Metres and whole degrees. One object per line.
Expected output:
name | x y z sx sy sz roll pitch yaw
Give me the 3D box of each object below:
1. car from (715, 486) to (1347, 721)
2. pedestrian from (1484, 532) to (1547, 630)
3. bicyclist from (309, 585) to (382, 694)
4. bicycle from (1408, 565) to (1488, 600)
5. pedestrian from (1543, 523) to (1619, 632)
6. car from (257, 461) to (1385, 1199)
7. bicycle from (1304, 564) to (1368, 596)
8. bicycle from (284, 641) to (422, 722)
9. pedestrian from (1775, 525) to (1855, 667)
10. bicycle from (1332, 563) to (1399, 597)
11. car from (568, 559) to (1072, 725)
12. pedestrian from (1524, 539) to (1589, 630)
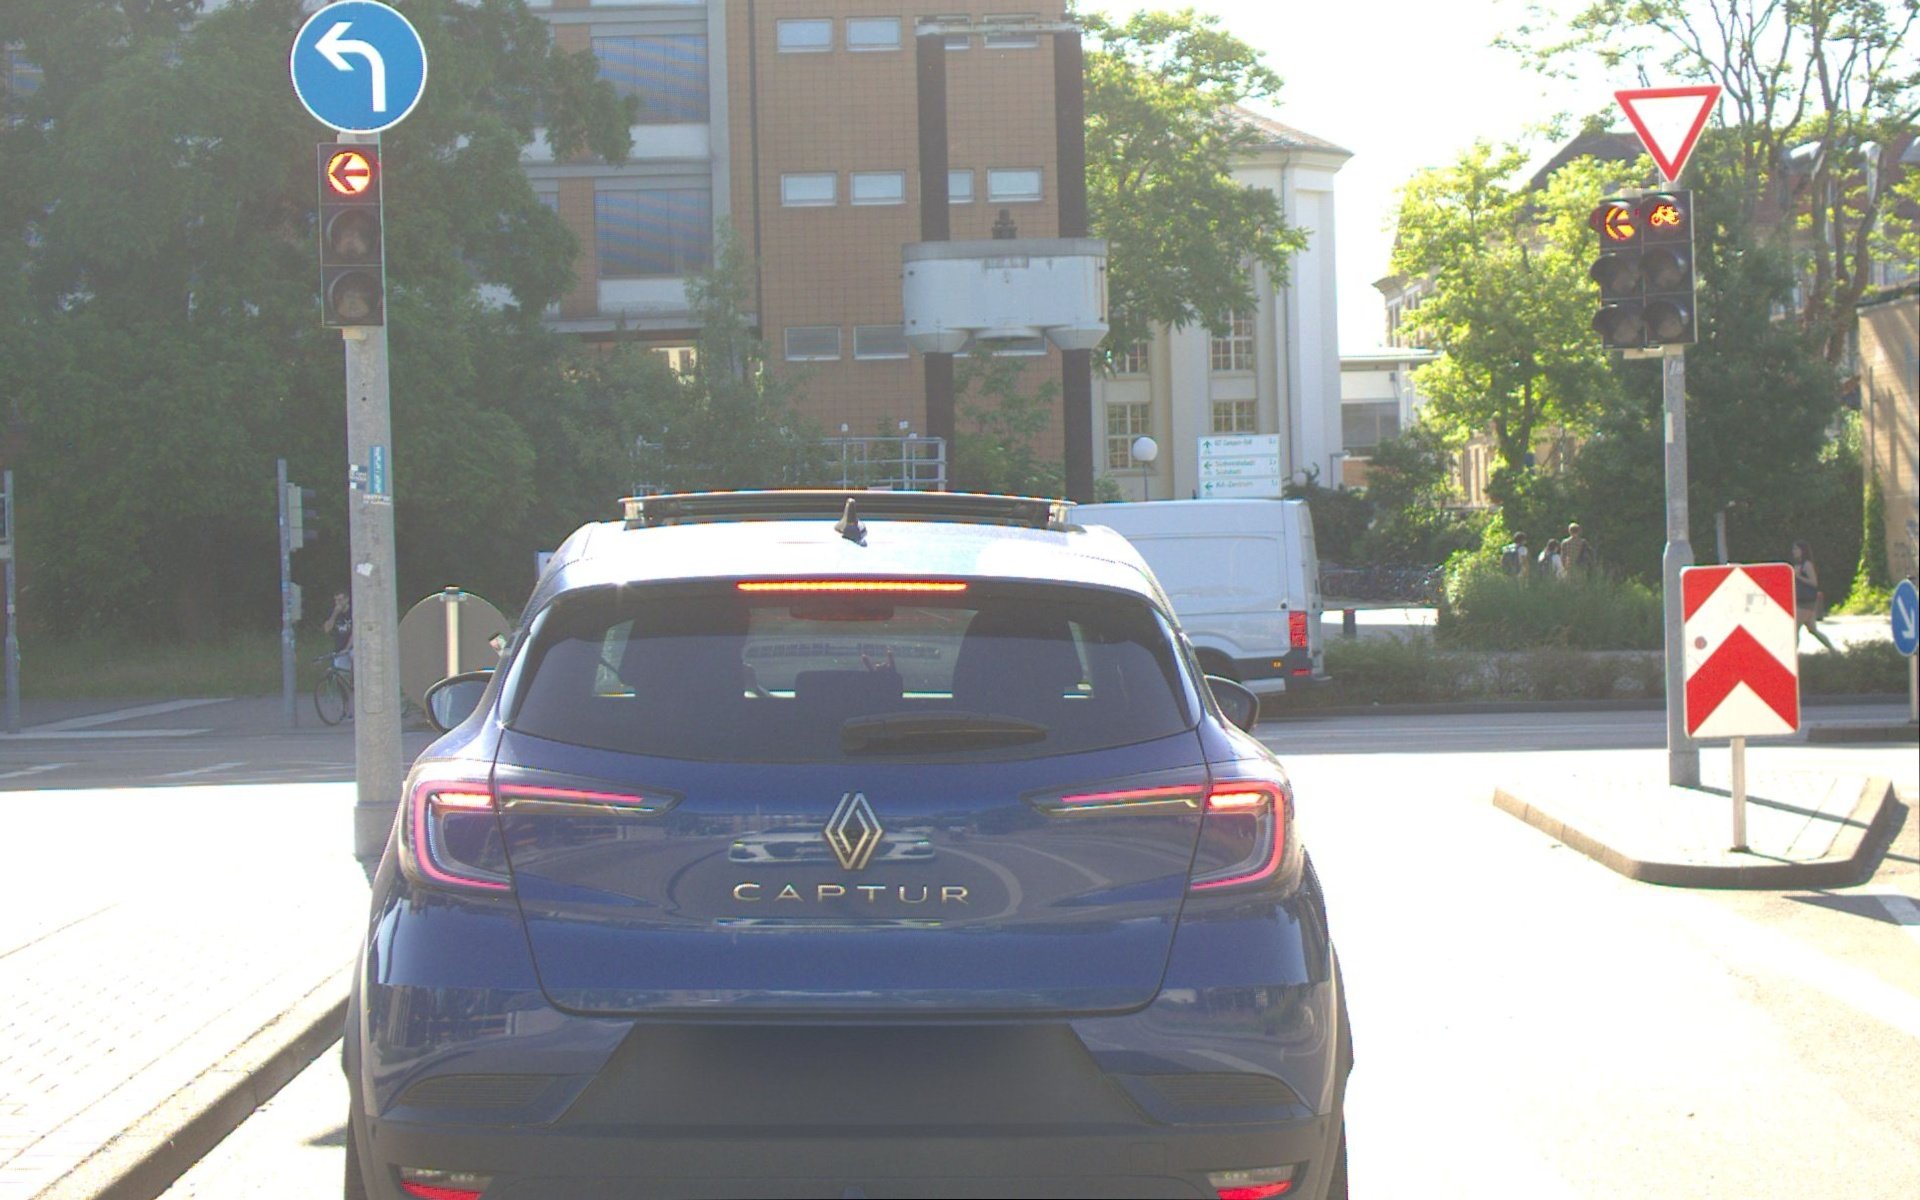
car | 0.902 0.031 40.387 6.938 2.538 3.011 -1 1 12
pedestrian | 10.095 -0.350 62.501 0.953 1.735 0.984 -1 1 0
bicyclist | -8.082 0.522 45.225 0.648 1.407 0.637 -3 -2 31
bicycle | 11.988 -0.424 84.452 1.770 0.820 0.766 -1 1 -10
pedestrian | 11.634 -0.430 64.442 1.156 2.007 1.164 -1 1 0
car | -0.274 0.569 7.427 1.794 1.649 3.853 0 1 -2
bicycle | 11.013 -0.599 100.617 1.771 0.890 0.765 -1 1 0
bicycle | -7.989 1.066 45.328 0.699 1.004 1.865 -3 -2 32
pedestrian | 11.348 -0.063 45.669 0.932 1.849 0.807 -1 1 9
bicycle | 11.353 -0.560 96.253 1.771 0.895 0.765 -1 1 0
car | -1.461 0.462 36.776 5.032 1.667 1.999 1 -2 11
pedestrian | 10.769 -0.289 62.075 0.936 1.607 1.176 -1 1 0
